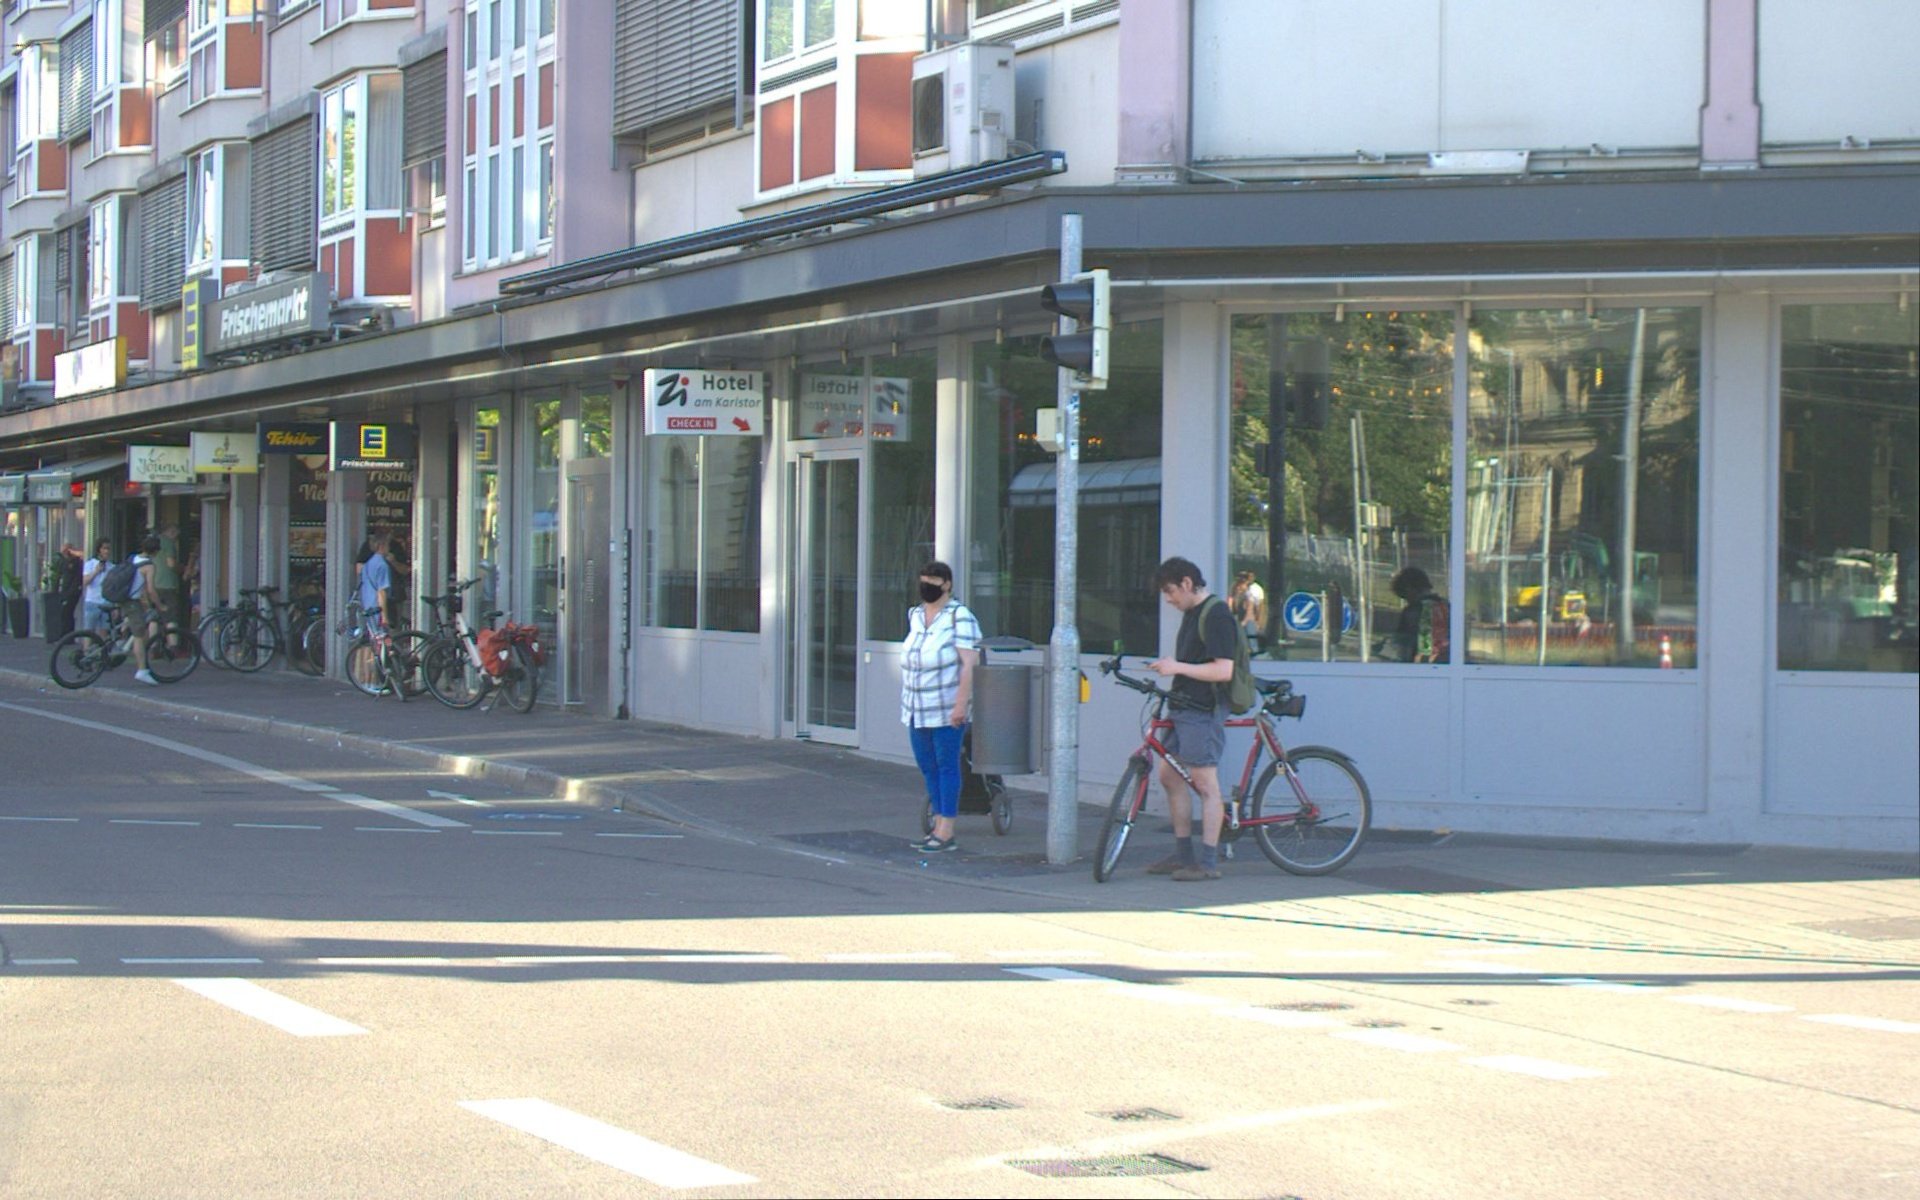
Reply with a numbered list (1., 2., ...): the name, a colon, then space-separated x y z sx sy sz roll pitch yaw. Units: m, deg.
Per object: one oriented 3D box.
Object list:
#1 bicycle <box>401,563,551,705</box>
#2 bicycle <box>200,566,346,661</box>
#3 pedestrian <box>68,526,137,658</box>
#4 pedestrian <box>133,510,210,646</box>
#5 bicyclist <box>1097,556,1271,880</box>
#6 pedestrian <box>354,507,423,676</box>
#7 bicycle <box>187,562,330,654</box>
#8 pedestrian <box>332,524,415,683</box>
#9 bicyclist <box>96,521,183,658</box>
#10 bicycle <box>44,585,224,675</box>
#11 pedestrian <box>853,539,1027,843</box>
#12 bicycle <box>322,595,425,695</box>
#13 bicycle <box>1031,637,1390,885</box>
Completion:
1. bicycle: -4.469 0.295 31.584 0.727 1.222 2.333 1 1 -24
2. bicycle: -8.361 0.171 41.877 1.644 1.115 0.484 1 2 -30
3. pedestrian: -10.859 -0.106 43.527 0.750 1.639 0.550 1 2 -20
4. pedestrian: -10.552 -0.306 46.015 0.818 1.772 0.680 2 2 1
5. bicyclist: 1.151 0.588 17.700 0.656 1.591 0.641 -2 3 -26
6. pedestrian: -6.392 -0.100 38.419 0.608 1.846 0.604 1 2 -20
7. bicycle: -8.815 0.106 43.233 1.644 1.115 0.566 1 2 -30
8. pedestrian: -6.161 0.027 36.129 0.609 1.629 0.603 3 2 16
9. bicyclist: -9.400 -0.131 39.382 0.799 1.527 0.629 -3 2 -27
10. bicycle: -9.529 0.332 39.705 1.905 0.927 0.628 -3 3 -37
11. pedestrian: -0.113 0.493 19.258 0.716 1.656 0.632 1 0 37
12. bicycle: -5.861 0.437 34.287 0.500 0.914 2.079 1 1 -24
13. bicycle: 1.302 0.810 17.785 1.763 1.141 0.641 -2 3 -26
